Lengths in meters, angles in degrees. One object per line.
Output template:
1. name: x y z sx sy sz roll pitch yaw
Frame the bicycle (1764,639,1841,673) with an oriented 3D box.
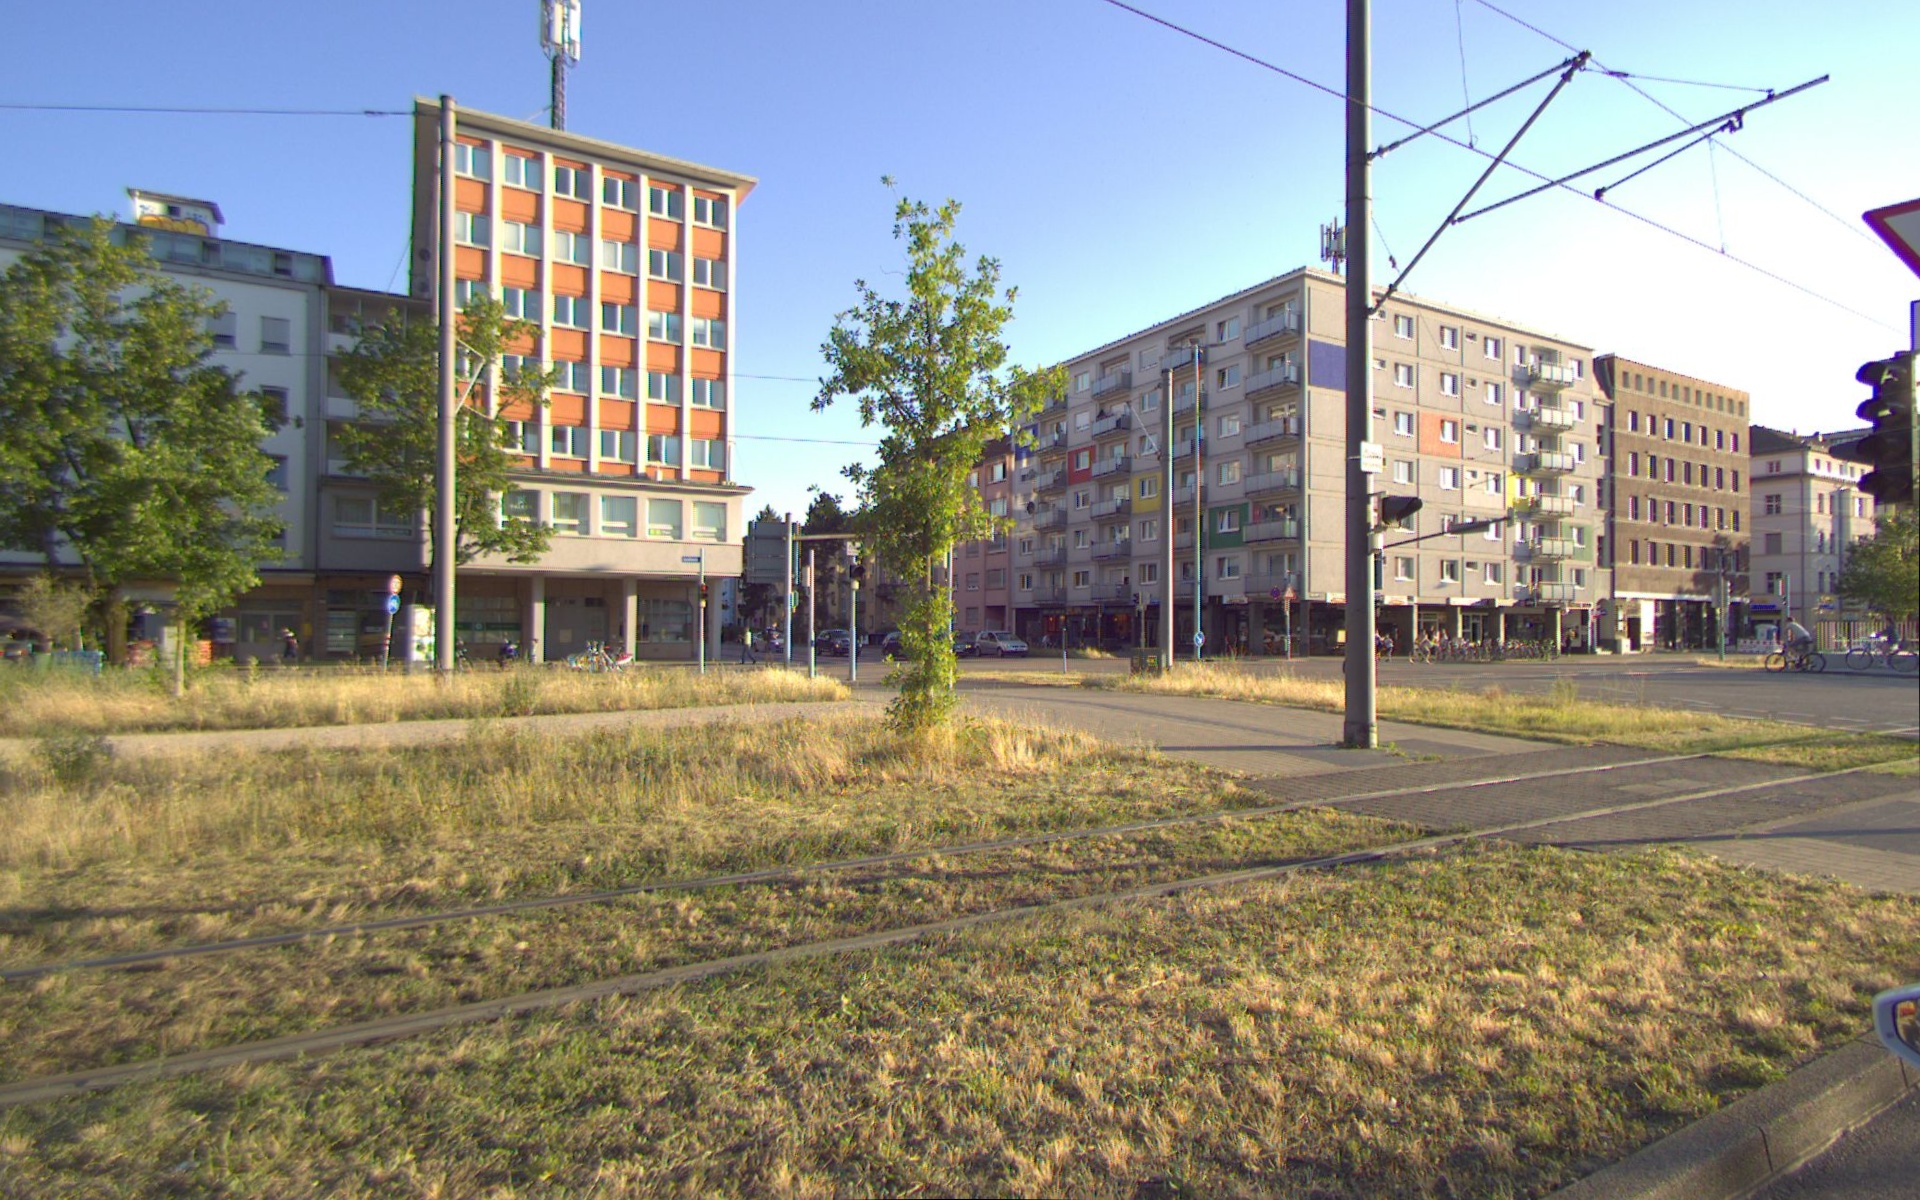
1. bicycle: 27.931 1.835 33.315 0.627 1.089 1.884 1 -2 -41

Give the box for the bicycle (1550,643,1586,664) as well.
1. bicycle: 35.195 3.100 58.146 0.688 1.159 1.684 1 -1 -28

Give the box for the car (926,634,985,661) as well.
1. car: -0.317 2.774 59.537 1.974 1.505 3.974 1 -2 -26

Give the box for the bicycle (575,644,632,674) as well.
1. bicycle: -13.296 2.190 37.485 1.972 1.089 0.465 1 -1 -31

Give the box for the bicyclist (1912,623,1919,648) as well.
1. bicyclist: 77.814 2.877 81.354 0.912 2.040 0.794 1 -1 -28

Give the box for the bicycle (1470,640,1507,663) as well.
1. bicycle: 28.713 2.773 54.587 0.561 1.197 1.761 1 -1 -29

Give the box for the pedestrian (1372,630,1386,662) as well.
1. pedestrian: 21.448 2.349 51.414 0.563 1.641 0.602 0 -1 29

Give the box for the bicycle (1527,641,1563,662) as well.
1. bicycle: 33.223 2.926 57.082 0.696 1.168 1.684 1 -1 -28

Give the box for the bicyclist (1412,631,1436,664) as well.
1. bicyclist: 21.012 2.148 45.526 0.841 1.445 0.501 0 -1 -3

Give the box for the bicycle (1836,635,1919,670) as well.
1. bicycle: 30.492 1.729 33.284 0.534 1.098 2.147 2 -1 -38

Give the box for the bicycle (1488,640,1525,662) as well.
1. bicycle: 30.736 2.870 56.518 0.598 1.151 1.763 1 -1 -29

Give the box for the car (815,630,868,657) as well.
1. car: -7.268 2.647 61.381 1.975 1.551 3.971 1 -1 -28

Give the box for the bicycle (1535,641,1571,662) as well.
1. bicycle: 33.891 2.936 57.430 0.739 1.194 1.684 1 -1 -28

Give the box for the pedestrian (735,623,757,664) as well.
1. pedestrian: -9.784 1.990 45.971 0.879 1.855 0.885 1 -1 -20

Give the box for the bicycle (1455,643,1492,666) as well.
1. bicycle: 27.653 2.926 54.088 0.592 1.154 1.749 1 -1 -29

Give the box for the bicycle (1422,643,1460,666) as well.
1. bicycle: 25.813 2.917 53.949 0.631 1.224 1.786 1 -2 -30

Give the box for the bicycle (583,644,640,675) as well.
1. bicycle: -12.508 2.124 36.078 1.885 1.089 0.465 1 -1 -31

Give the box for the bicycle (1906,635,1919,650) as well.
1. bicycle: 77.592 3.417 81.247 2.382 1.217 0.809 1 -2 -28

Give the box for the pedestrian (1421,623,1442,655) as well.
1. pedestrian: 27.697 2.267 59.002 0.715 1.837 0.819 1 1 -40

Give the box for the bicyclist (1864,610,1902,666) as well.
1. bicyclist: 30.547 1.250 33.246 0.533 1.842 0.869 1 -1 -39

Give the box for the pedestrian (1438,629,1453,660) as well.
1. pedestrian: 26.881 2.478 55.622 0.543 1.706 0.574 1 -2 -43

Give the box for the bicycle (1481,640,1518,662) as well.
1. bicycle: 30.175 2.827 56.179 0.598 1.174 1.768 1 -2 -29

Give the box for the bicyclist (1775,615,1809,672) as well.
1. bicyclist: 27.748 1.442 33.504 0.641 1.842 0.785 1 -2 -43

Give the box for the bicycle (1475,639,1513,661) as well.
1. bicycle: 29.668 2.792 55.803 0.632 1.176 1.823 1 -2 -29

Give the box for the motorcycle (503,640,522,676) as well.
1. motorcycle: -16.953 2.177 38.002 0.538 1.335 1.823 1 -1 -27

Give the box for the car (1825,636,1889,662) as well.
1. car: 57.356 3.127 64.210 3.948 1.639 1.683 1 -3 -27

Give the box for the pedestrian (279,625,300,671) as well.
1. pedestrian: -26.627 1.909 39.905 0.623 1.792 0.593 1 -1 -30

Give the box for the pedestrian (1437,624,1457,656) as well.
1. pedestrian: 28.277 2.310 58.310 0.728 1.866 0.780 1 -2 -38

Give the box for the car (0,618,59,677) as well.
1. car: -30.088 1.404 30.236 3.927 1.706 1.997 1 -1 -9

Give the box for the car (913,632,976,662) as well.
1. car: -0.896 2.567 55.518 1.974 1.505 3.974 1 -1 -26

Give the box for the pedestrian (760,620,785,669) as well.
1. pedestrian: -7.644 1.822 40.930 0.708 1.972 0.720 -1 -2 43

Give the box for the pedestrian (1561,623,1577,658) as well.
1. pedestrian: 39.552 2.622 65.218 0.783 2.207 0.599 1 -1 -30

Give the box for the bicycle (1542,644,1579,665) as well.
1. bicycle: 34.559 3.128 57.799 0.739 1.185 1.684 1 -1 -28

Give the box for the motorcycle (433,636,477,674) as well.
1. motorcycle: -17.949 1.936 35.712 1.373 1.335 0.378 1 -1 -28

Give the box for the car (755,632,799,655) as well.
1. car: -13.165 3.072 72.087 1.975 1.551 3.971 1 -2 -28

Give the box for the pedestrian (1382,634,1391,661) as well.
1. pedestrian: 21.972 2.434 51.743 0.376 1.401 0.394 0 -1 32

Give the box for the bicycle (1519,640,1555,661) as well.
1. bicycle: 32.608 2.875 56.805 0.626 1.139 1.720 2 -2 -28

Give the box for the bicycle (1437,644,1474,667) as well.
1. bicycle: 26.791 2.995 54.293 0.601 1.157 1.768 1 -2 -29

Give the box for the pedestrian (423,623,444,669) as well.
1. pedestrian: -20.801 1.815 39.700 0.696 1.816 0.590 1 -1 -30

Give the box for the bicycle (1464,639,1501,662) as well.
1. bicycle: 28.211 2.725 54.259 0.534 1.183 1.758 1 -1 -29

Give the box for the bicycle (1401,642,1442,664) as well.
1. bicycle: 20.899 2.404 45.522 1.635 0.957 0.509 0 -1 -2

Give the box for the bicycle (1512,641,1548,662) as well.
1. bicycle: 32.049 2.878 56.517 0.561 1.134 1.753 1 -1 -29

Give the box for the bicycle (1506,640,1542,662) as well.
1. bicycle: 31.544 2.847 56.234 0.545 1.132 1.747 1 -1 -29

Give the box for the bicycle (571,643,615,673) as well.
1. bicycle: -14.041 2.217 38.481 1.543 1.089 0.392 1 -1 -31

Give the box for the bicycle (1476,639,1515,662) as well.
1. bicycle: 29.262 2.756 54.905 0.644 1.206 1.780 1 -2 -30

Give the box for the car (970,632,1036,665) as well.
1. car: 2.307 2.645 55.547 1.974 1.506 3.973 2 1 -26
